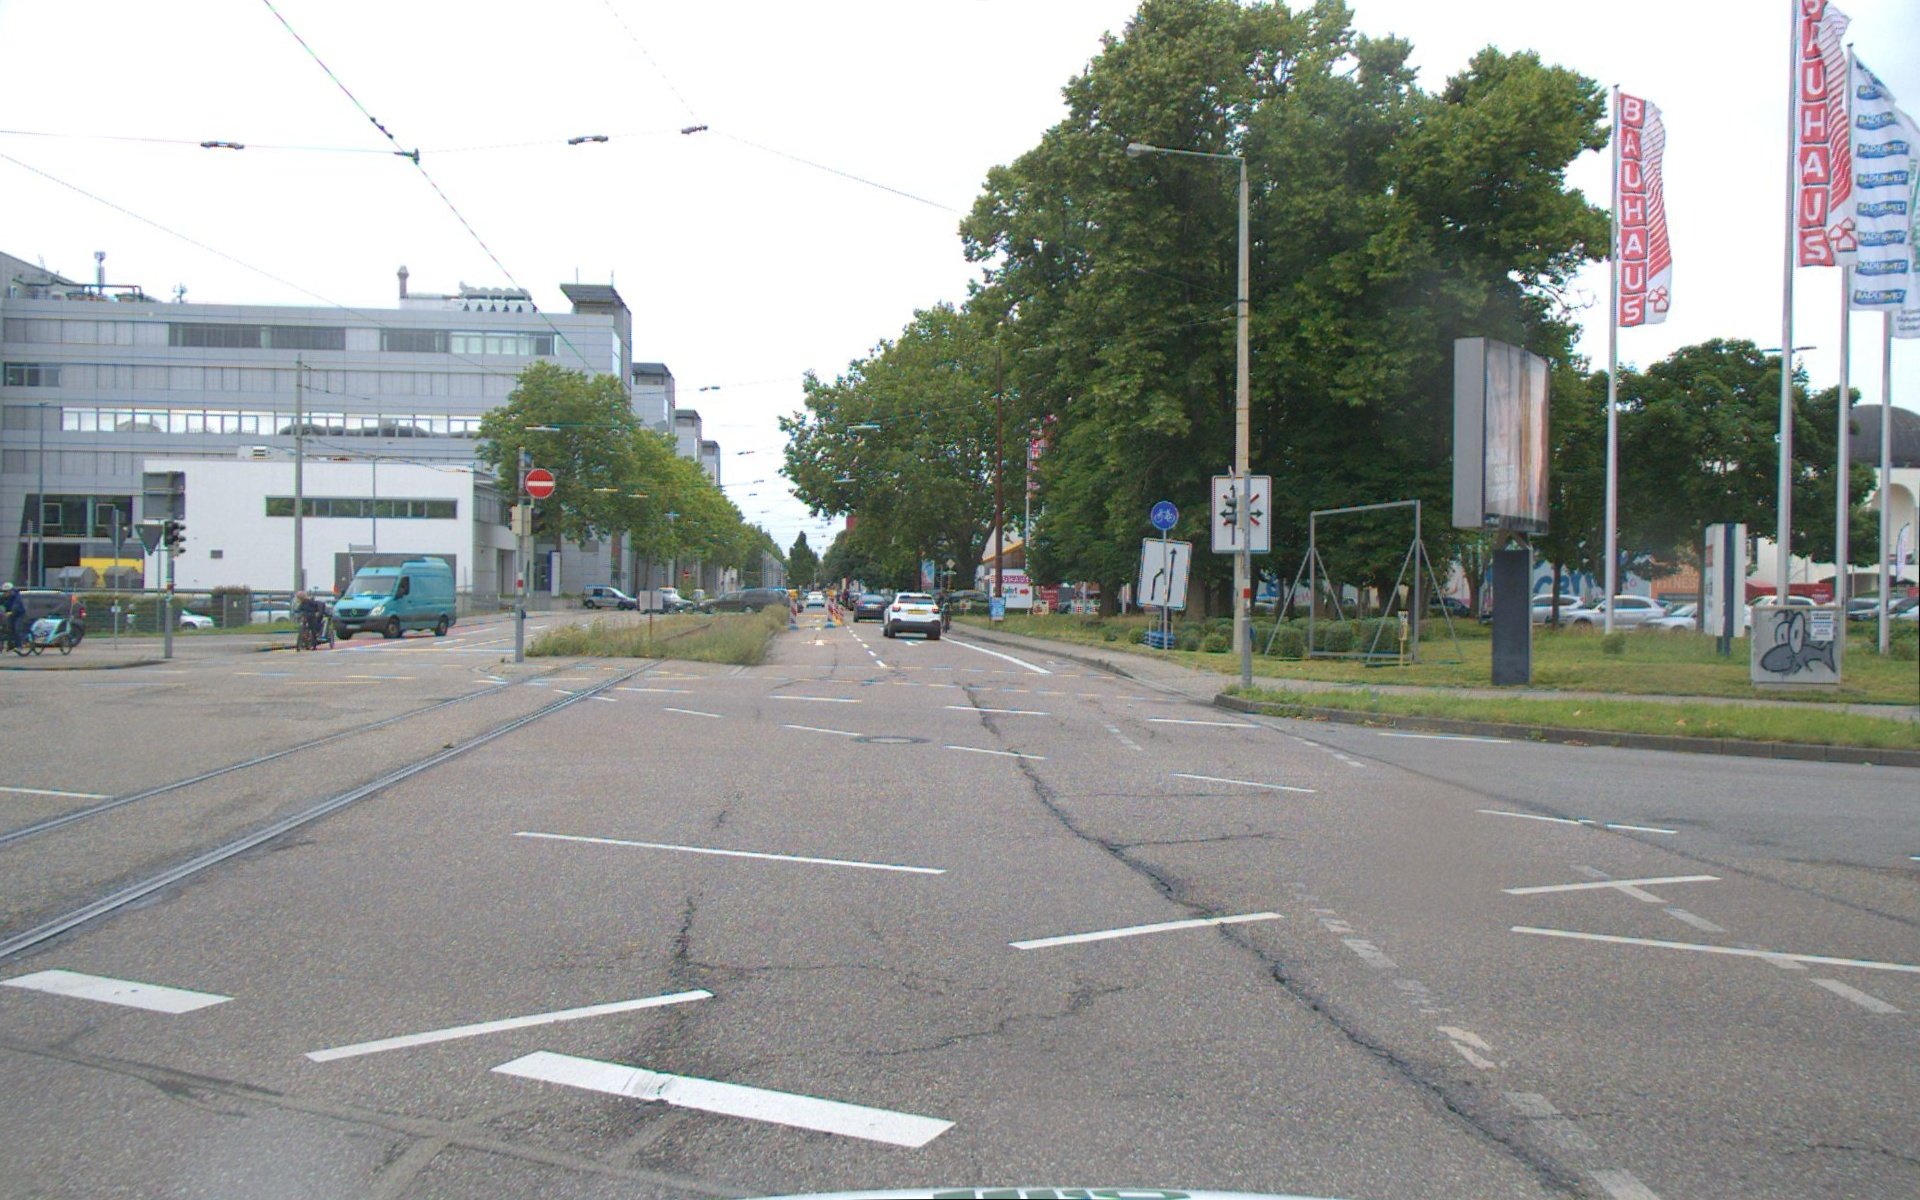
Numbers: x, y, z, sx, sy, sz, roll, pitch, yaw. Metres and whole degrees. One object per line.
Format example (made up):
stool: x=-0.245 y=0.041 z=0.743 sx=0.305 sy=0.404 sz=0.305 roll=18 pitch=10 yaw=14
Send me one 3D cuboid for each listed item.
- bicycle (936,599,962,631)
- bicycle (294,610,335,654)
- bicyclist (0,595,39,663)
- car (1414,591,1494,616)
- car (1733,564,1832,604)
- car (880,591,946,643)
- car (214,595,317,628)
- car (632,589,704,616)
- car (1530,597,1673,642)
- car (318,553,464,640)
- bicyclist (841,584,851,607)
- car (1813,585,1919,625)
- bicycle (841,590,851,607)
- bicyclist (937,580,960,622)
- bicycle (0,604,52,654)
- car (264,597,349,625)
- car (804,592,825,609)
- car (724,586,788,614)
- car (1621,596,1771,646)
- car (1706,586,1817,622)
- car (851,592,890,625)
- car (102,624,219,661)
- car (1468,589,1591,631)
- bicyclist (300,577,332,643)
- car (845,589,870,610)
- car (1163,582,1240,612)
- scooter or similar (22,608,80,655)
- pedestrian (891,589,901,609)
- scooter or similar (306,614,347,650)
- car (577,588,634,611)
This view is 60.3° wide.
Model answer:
bicycle: x=-0.458 y=0.565 z=65.105 sx=0.800 sy=1.234 sz=2.680 roll=0 pitch=0 yaw=-5
bicycle: x=-17.185 y=0.844 z=44.051 sx=0.634 sy=1.081 sz=2.019 roll=2 pitch=1 yaw=-11
bicyclist: x=-22.122 y=0.669 z=38.804 sx=0.632 sy=1.545 sz=0.626 roll=2 pitch=0 yaw=-3
car: x=31.479 y=0.225 z=105.450 sx=4.464 sy=1.599 sz=2.071 roll=0 pitch=0 yaw=-6
car: x=54.207 y=-1.058 z=108.997 sx=5.631 sy=2.581 sz=2.071 roll=0 pitch=0 yaw=-6
car: x=-1.618 y=0.561 z=56.001 sx=1.789 sy=1.628 sz=3.769 roll=2 pitch=0 yaw=-8
car: x=-35.190 y=0.570 z=83.877 sx=4.441 sy=1.662 sz=1.909 roll=0 pitch=0 yaw=-8
car: x=-17.897 y=0.166 z=101.361 sx=4.034 sy=1.501 sz=1.824 roll=-2 pitch=-2 yaw=25
car: x=24.378 y=0.726 z=62.955 sx=4.586 sy=1.523 sz=2.167 roll=2 pitch=0 yaw=-7
car: x=-19.755 y=-0.116 z=57.771 sx=2.278 sy=2.875 sz=5.954 roll=0 pitch=0 yaw=9
bicyclist: x=-9.466 y=-0.357 z=137.332 sx=0.658 sy=1.847 sz=0.758 roll=2 pitch=0 yaw=-8
car: x=39.942 y=0.213 z=72.180 sx=4.470 sy=1.706 sz=2.150 roll=0 pitch=0 yaw=-10
bicycle: x=-9.454 y=-0.145 z=137.191 sx=0.658 sy=1.418 sz=2.163 roll=2 pitch=0 yaw=-8
bicyclist: x=-0.461 y=0.031 z=65.103 sx=0.800 sy=1.658 sz=1.234 roll=0 pitch=0 yaw=-5
bicycle: x=-22.127 y=0.669 z=38.755 sx=0.632 sy=1.081 sz=2.000 roll=2 pitch=1 yaw=-3
car: x=-35.496 y=0.593 z=89.903 sx=3.912 sy=1.511 sz=1.909 roll=0 pitch=0 yaw=-8
car: x=-13.967 y=-0.001 z=158.462 sx=1.762 sy=1.540 sz=3.699 roll=2 pitch=0 yaw=-8
car: x=-12.615 y=-0.001 z=102.274 sx=3.808 sy=1.583 sz=1.823 roll=2 pitch=-1 yaw=-6
car: x=25.222 y=0.717 z=56.721 sx=4.362 sy=1.523 sz=1.927 roll=2 pitch=-1 yaw=-10
car: x=38.982 y=0.196 z=80.469 sx=4.470 sy=1.706 sz=2.150 roll=0 pitch=0 yaw=-10
car: x=-4.603 y=0.425 z=84.508 sx=1.652 sy=1.540 sz=3.699 roll=2 pitch=0 yaw=-8
car: x=-34.575 y=1.832 z=71.634 sx=4.128 sy=1.559 sz=1.911 roll=0 pitch=0 yaw=-4
car: x=23.596 y=0.411 z=68.589 sx=4.448 sy=1.523 sz=1.955 roll=2 pitch=-1 yaw=-10
bicyclist: x=-17.171 y=0.255 z=44.096 sx=0.634 sy=1.713 sz=0.684 roll=2 pitch=0 yaw=-11
car: x=-8.239 y=-0.062 z=132.584 sx=1.841 sy=1.661 sz=3.994 roll=0 pitch=0 yaw=-6
car: x=15.332 y=-0.180 z=105.041 sx=4.464 sy=1.821 sz=2.071 roll=0 pitch=1 yaw=-6
scooter or similar: x=-22.225 y=0.772 z=40.464 sx=0.632 sy=1.081 sz=1.449 roll=2 pitch=1 yaw=-3
pedestrian: x=-5.377 y=-0.086 z=138.039 sx=0.747 sy=1.734 sz=0.680 roll=0 pitch=0 yaw=-10
scooter or similar: x=-17.520 y=0.884 z=45.747 sx=0.829 sy=0.923 sz=1.195 roll=2 pitch=1 yaw=-11
car: x=-28.244 y=-0.074 z=131.881 sx=4.328 sy=1.814 sz=1.822 roll=0 pitch=0 yaw=-8
